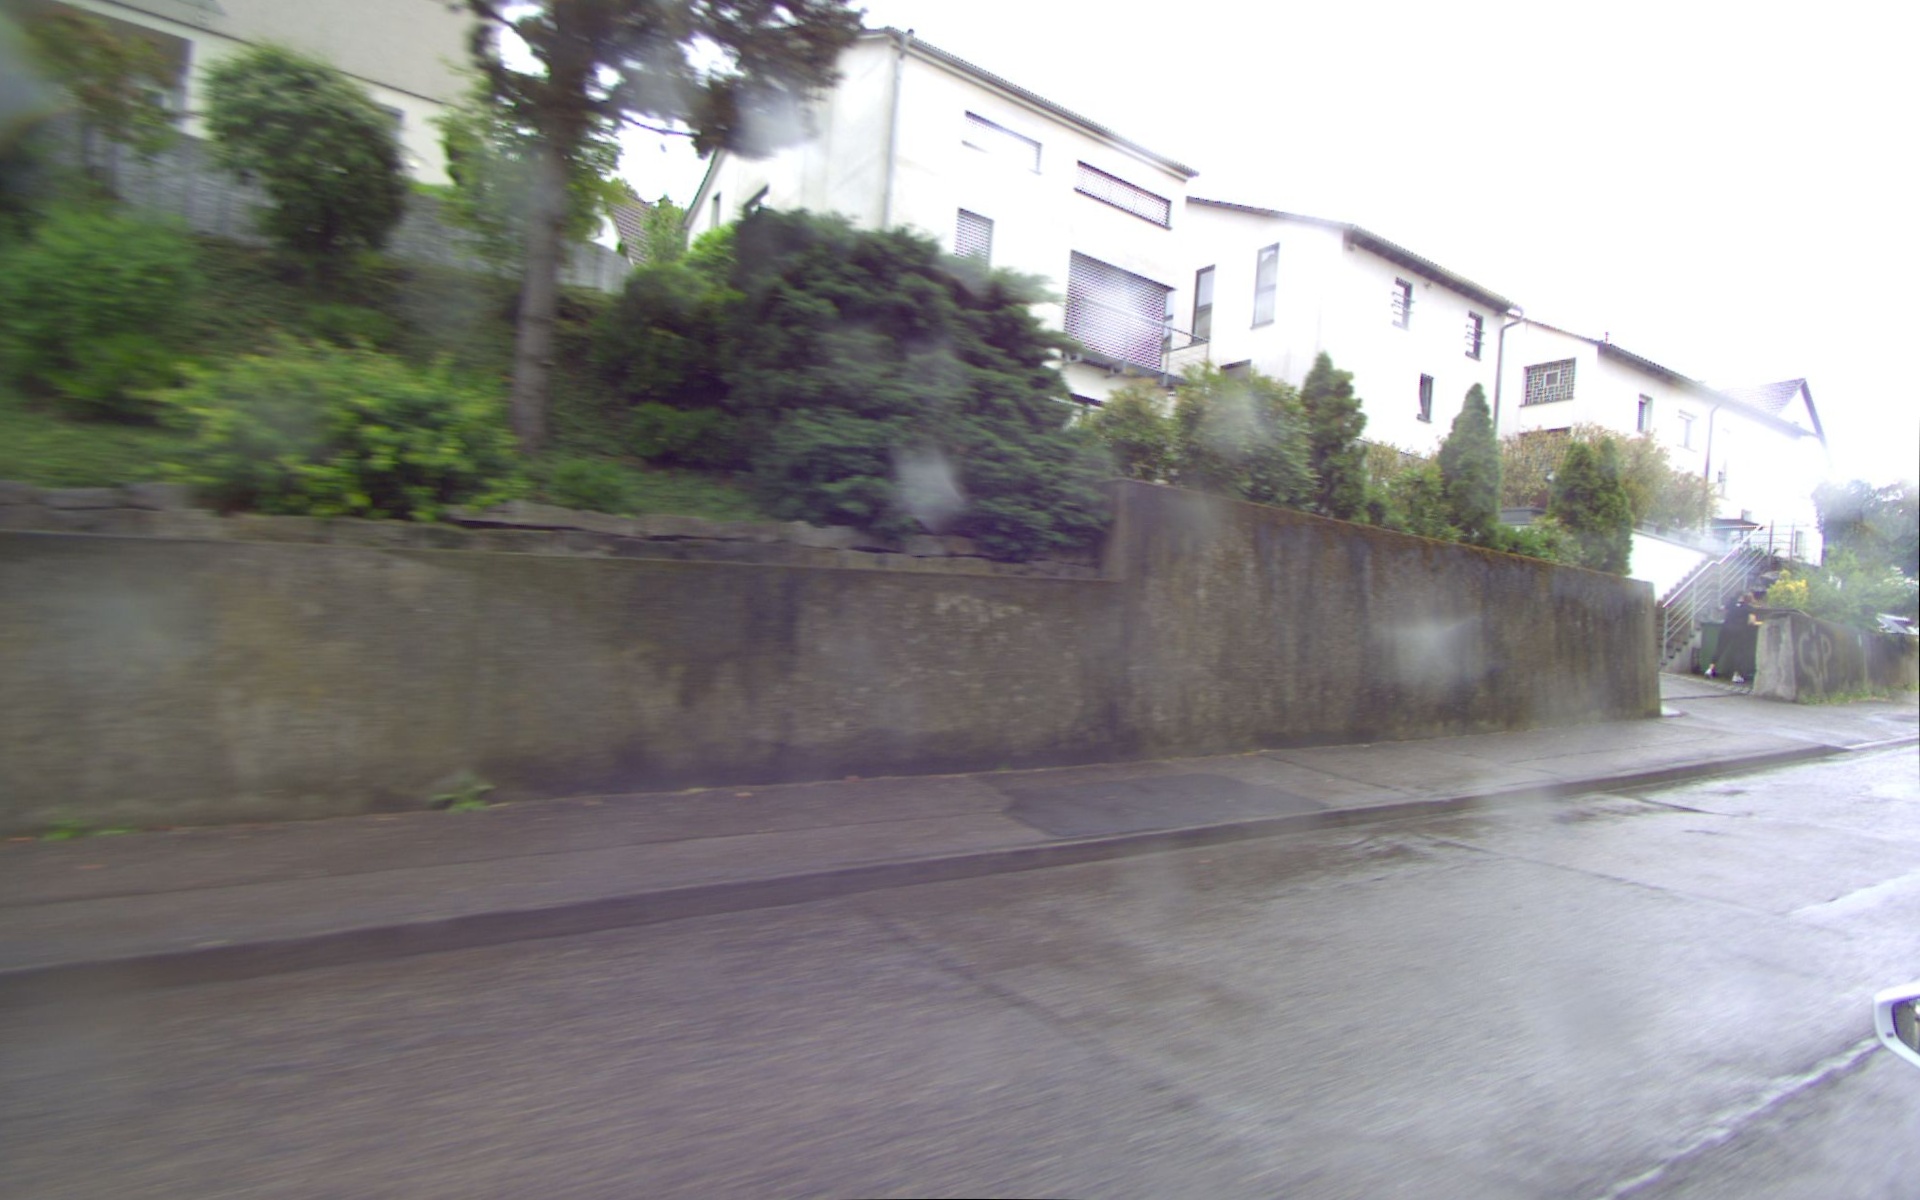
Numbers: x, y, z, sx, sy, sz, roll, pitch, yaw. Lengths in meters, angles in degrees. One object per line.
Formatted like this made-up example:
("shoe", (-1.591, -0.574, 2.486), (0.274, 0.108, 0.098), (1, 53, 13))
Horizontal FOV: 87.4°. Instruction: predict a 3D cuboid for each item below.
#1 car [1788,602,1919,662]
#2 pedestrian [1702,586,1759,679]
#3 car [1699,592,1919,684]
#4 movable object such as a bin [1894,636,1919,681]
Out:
("car", (33.531, 1.190, 36.975), (1.747, 1.450, 4.229), (3, 8, -31))
("pedestrian", (14.246, 0.578, 18.572), (0.726, 1.671, 0.650), (0, 2, -40))
("car", (22.370, 0.922, 26.195), (1.915, 1.636, 4.476), (2, 6, -37))
("movable object such as a bin", (25.028, 1.526, 26.370), (0.737, 1.090, 0.533), (1, 7, -39))
